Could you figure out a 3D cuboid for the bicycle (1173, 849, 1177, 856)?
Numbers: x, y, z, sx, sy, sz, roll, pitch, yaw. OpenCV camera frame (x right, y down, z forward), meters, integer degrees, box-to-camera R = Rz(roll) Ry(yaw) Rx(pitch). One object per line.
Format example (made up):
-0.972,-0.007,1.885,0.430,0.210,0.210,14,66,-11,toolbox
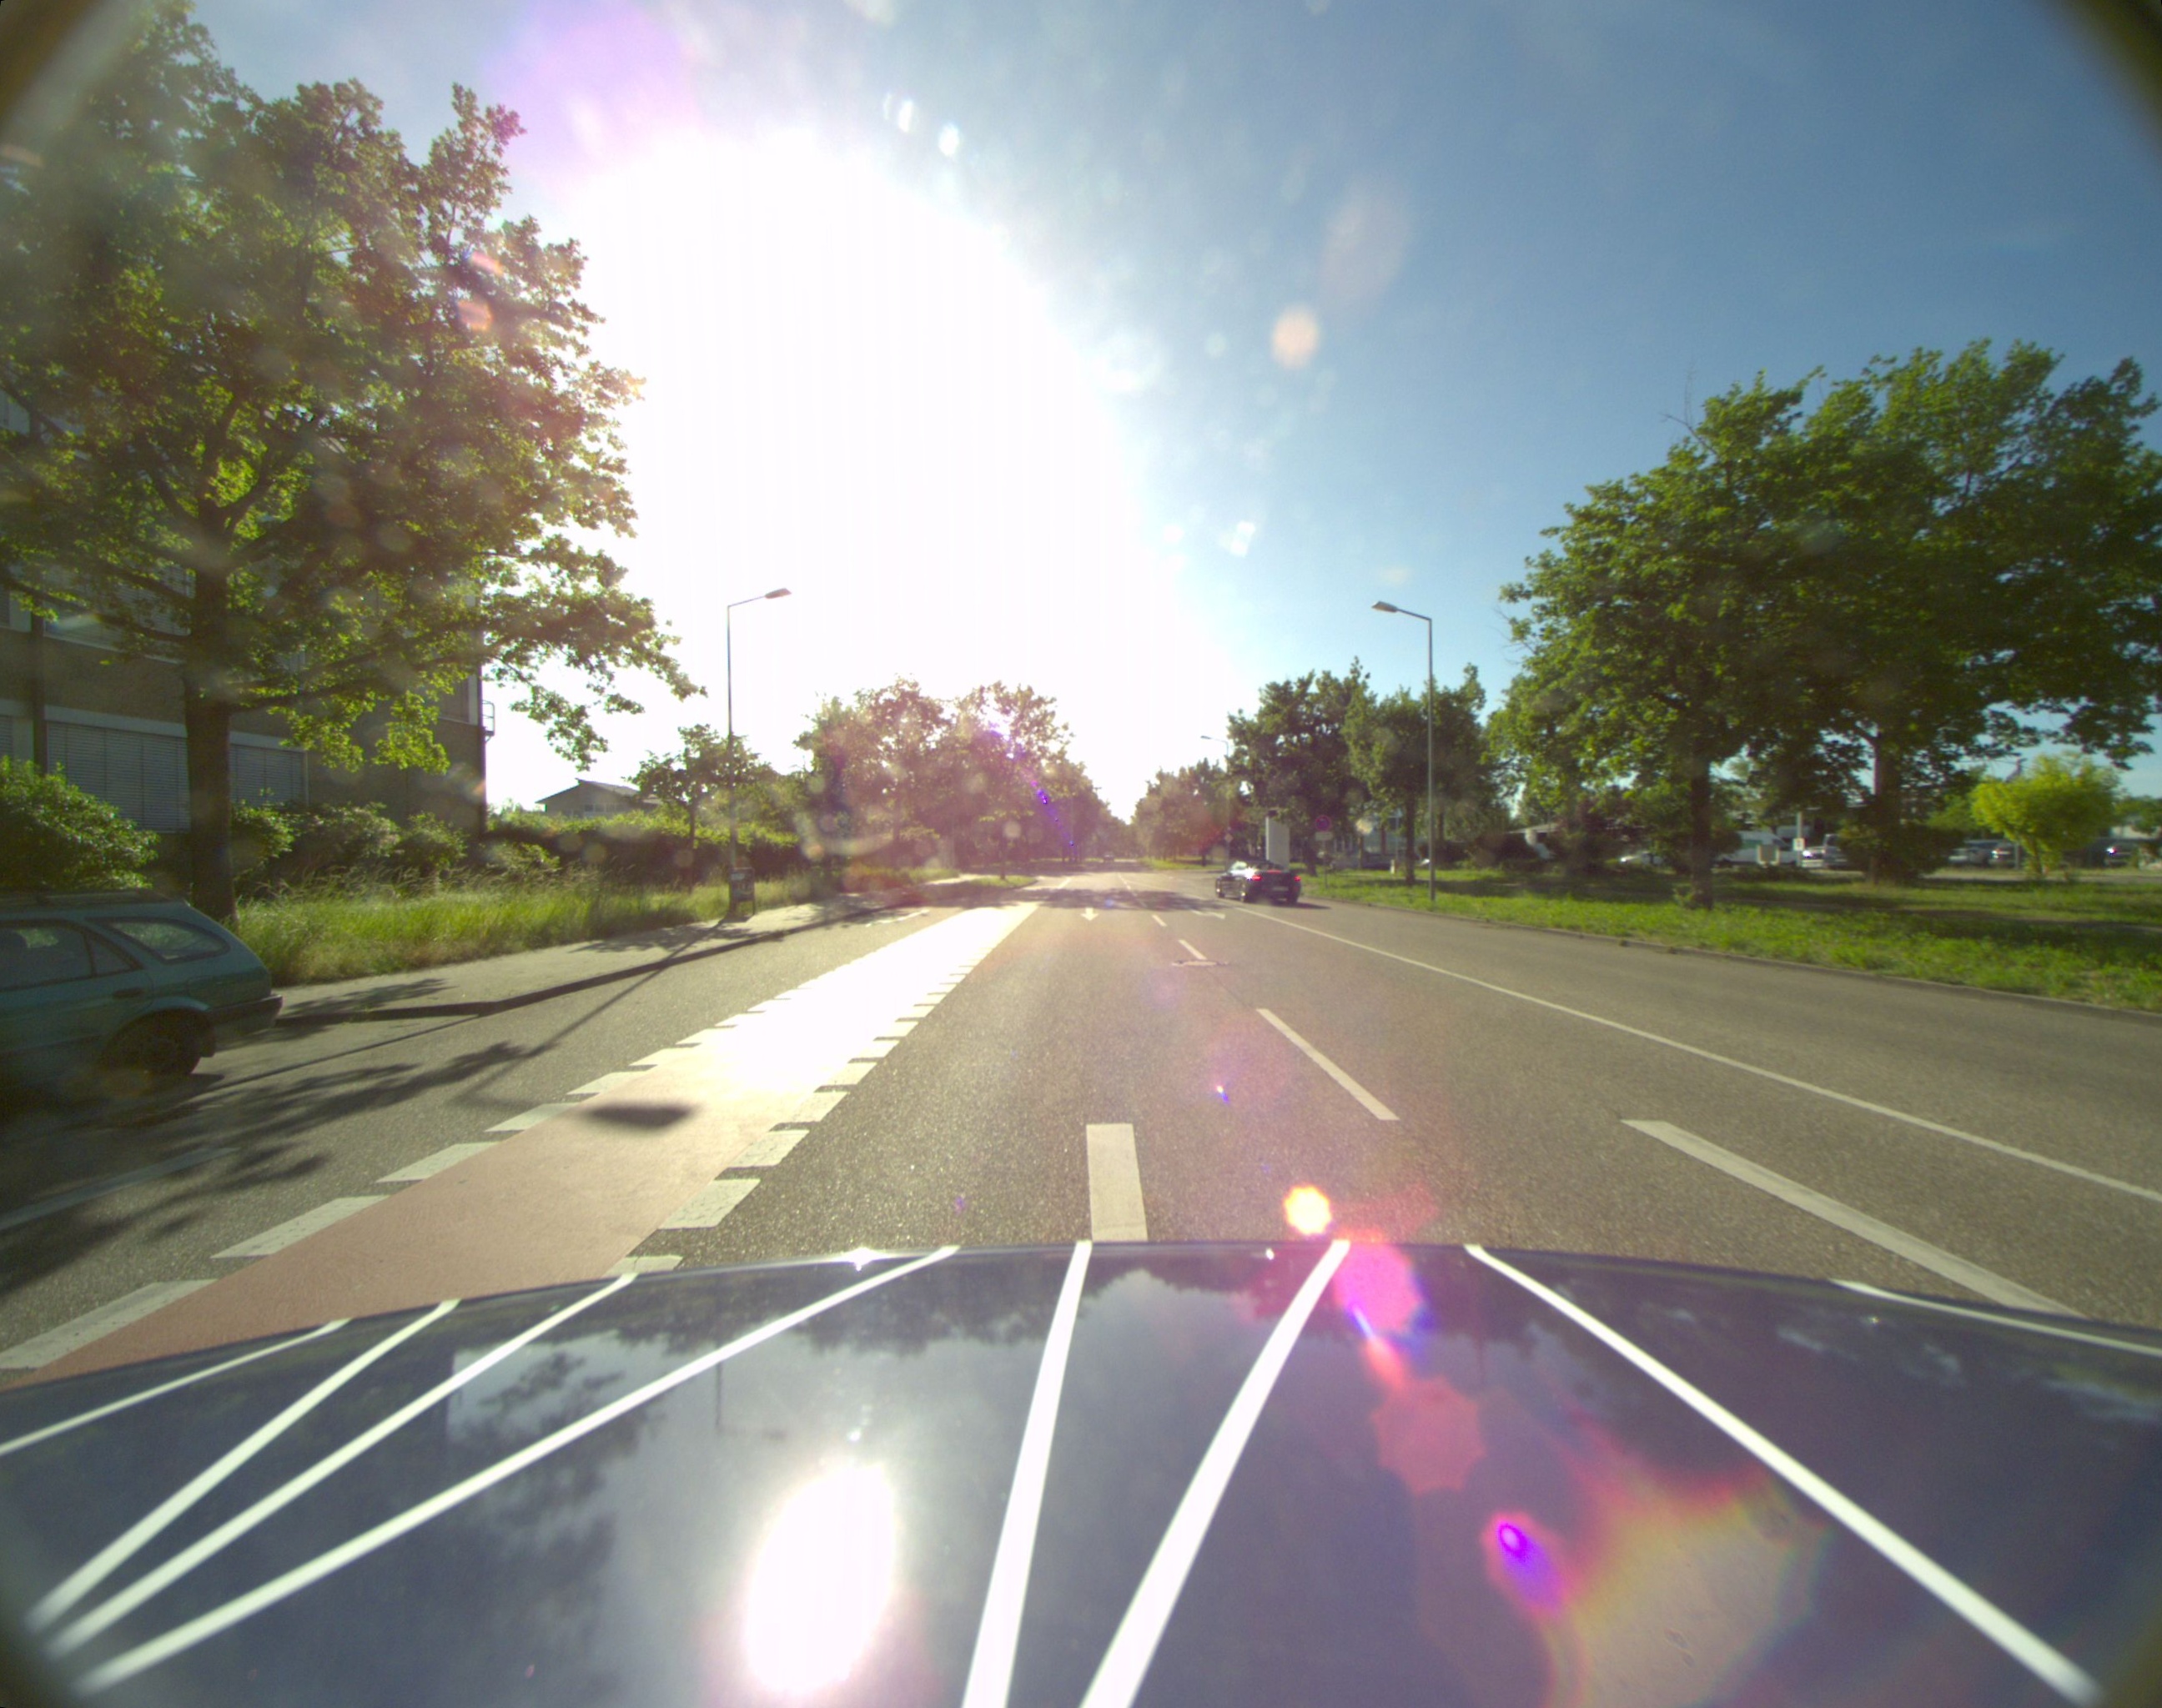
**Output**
17.309,-0.273,139.851,0.552,1.155,2.334,-2,1,3,bicycle

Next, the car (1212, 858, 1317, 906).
6.071,0.877,25.792,2.000,1.395,4.585,2,0,-6,car

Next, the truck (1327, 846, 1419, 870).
25.139,0.332,65.558,7.130,2.038,2.140,0,1,-2,truck

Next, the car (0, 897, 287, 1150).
-7.466,1.109,4.229,1.596,1.420,4.203,1,1,2,car

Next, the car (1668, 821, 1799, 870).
39.550,-0.530,46.171,6.176,2.687,2.300,-2,2,-3,car

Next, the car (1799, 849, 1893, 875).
41.127,0.430,40.887,3.532,1.294,1.574,-1,1,-2,car

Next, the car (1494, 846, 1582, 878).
39.893,0.692,66.404,6.356,2.501,2.300,-2,1,-3,car

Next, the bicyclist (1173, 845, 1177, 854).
17.280,-0.881,139.957,0.665,1.620,0.659,-2,2,3,bicyclist

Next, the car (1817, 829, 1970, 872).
40.624,-0.193,38.093,5.424,2.058,2.300,-1,1,-3,car

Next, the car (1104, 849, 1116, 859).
4.686,0.017,124.680,1.827,1.477,3.999,-2,1,1,car
